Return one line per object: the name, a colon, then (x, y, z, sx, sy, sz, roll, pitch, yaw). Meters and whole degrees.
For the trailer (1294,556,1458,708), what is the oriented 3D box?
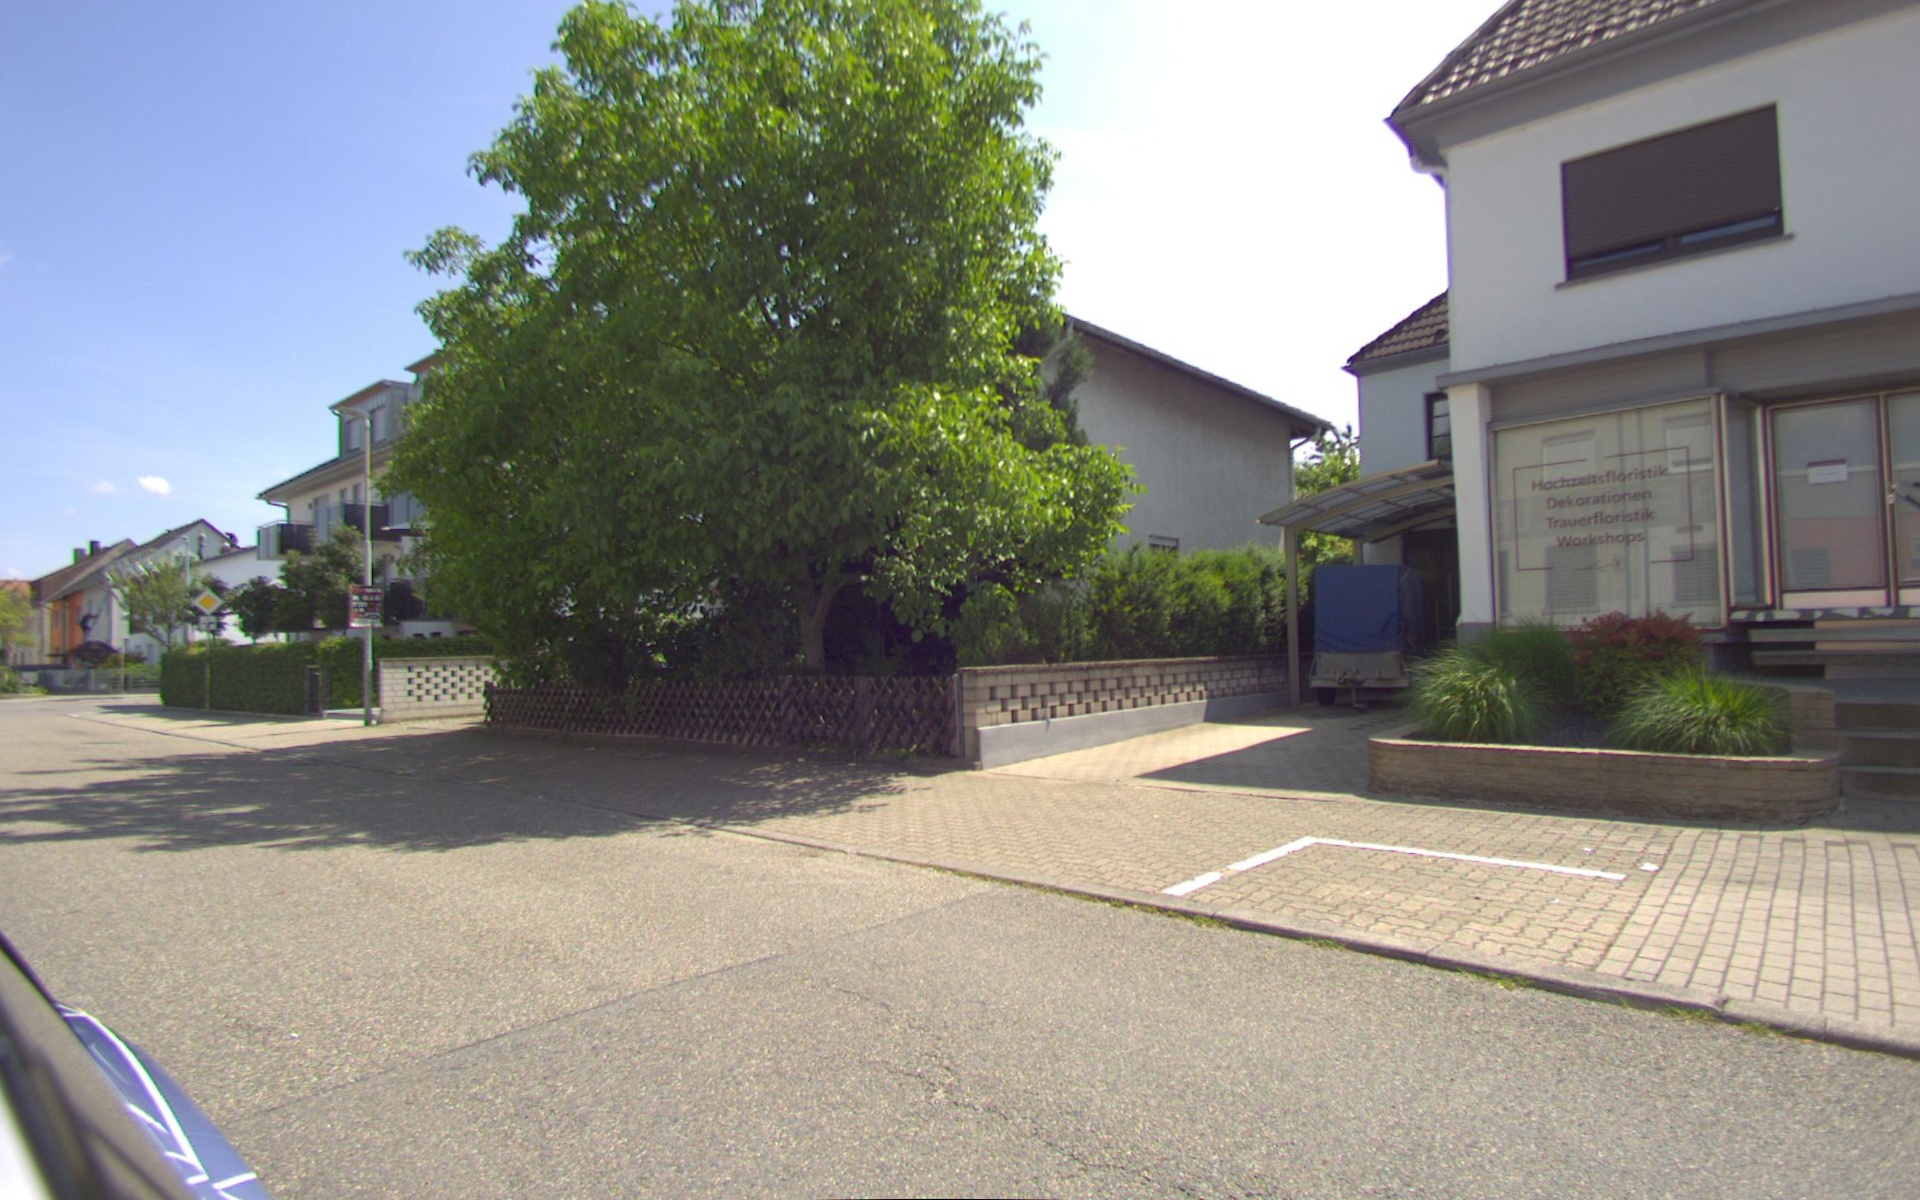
trailer: (6.618, 0.467, 15.951, 1.671, 2.129, 3.140, -3, -1, 35)
